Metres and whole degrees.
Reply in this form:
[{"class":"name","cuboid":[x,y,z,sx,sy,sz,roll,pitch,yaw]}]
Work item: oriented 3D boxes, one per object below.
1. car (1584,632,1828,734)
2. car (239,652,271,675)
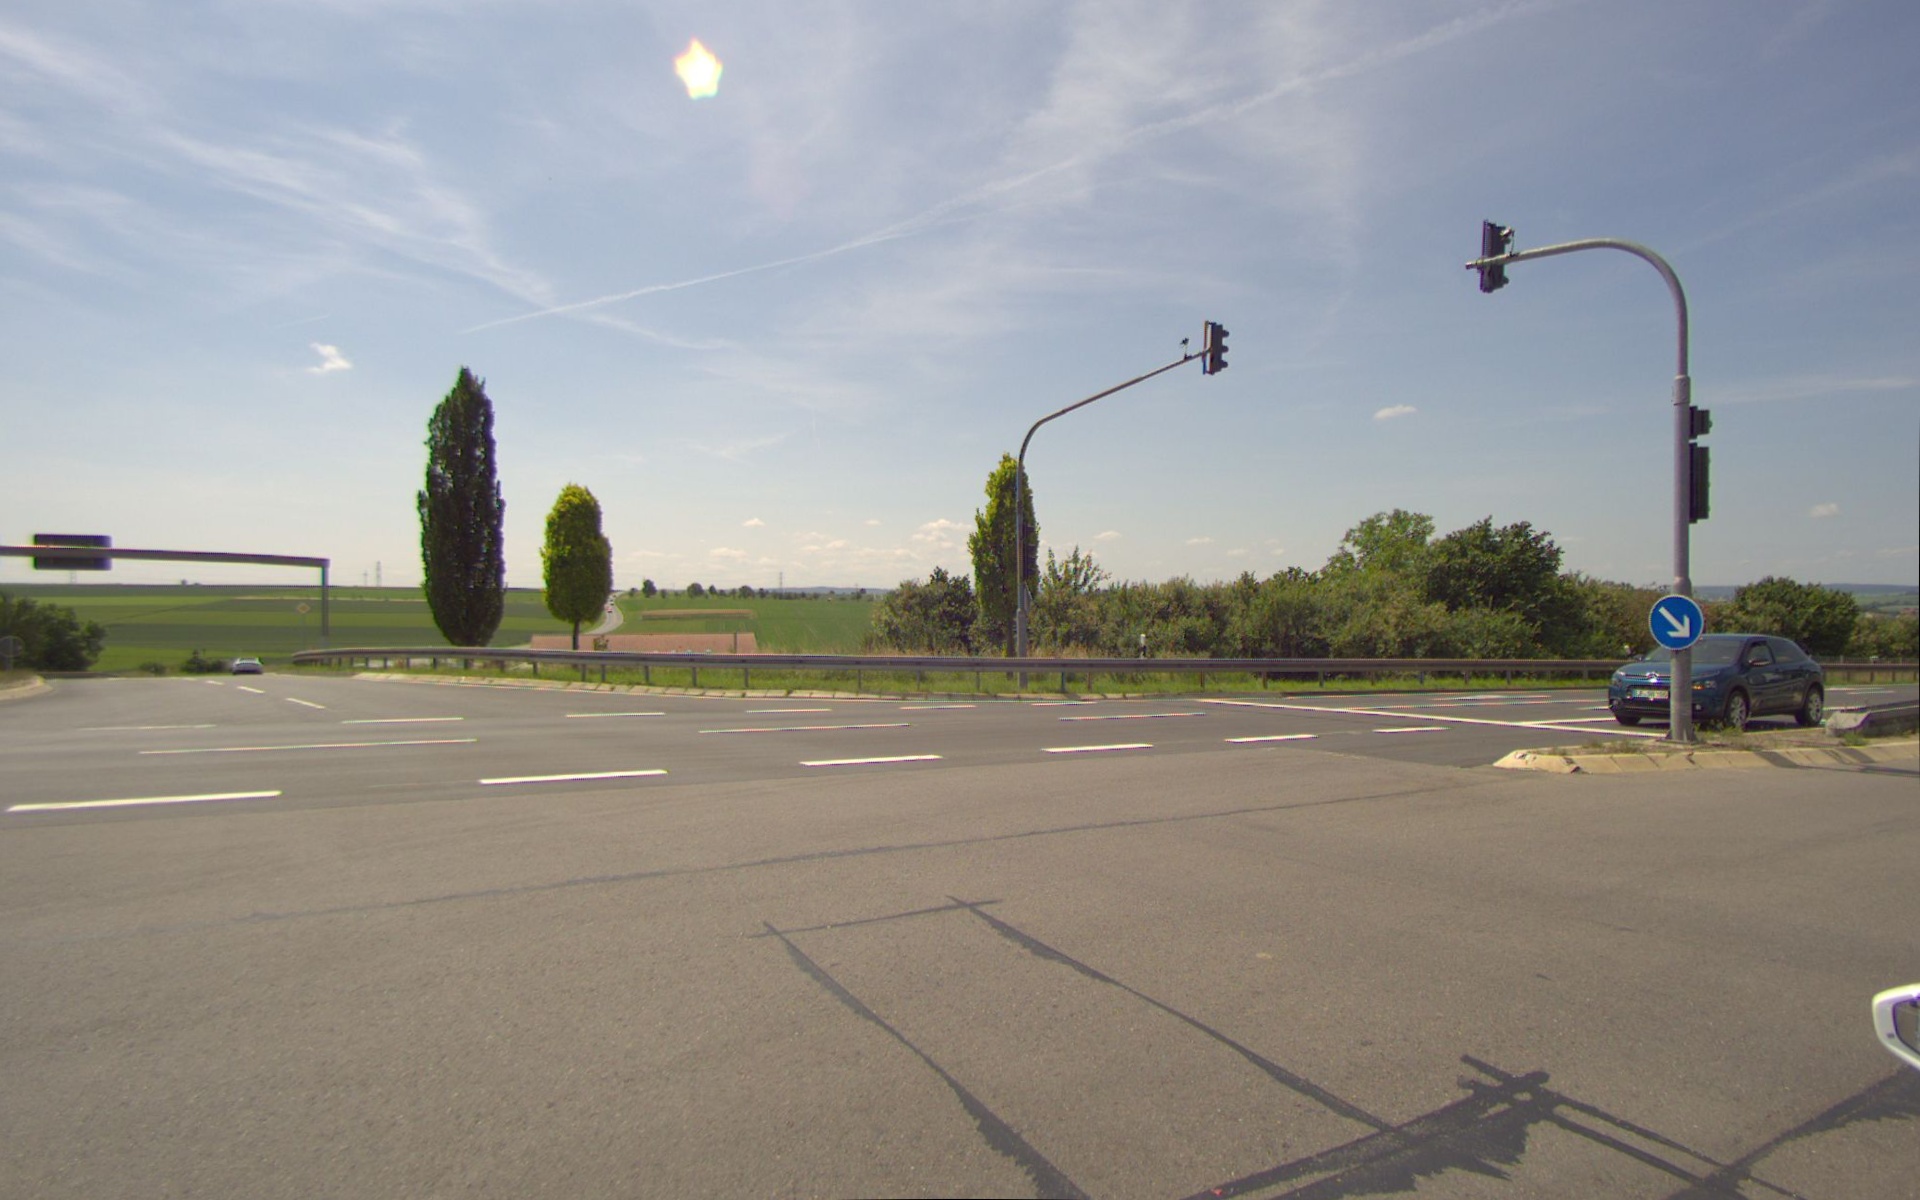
[{"class":"car","cuboid":[12.307,1.301,16.519,4.146,1.488,1.747,2,-2,-30]},{"class":"car","cuboid":[-55.007,4.919,78.417,1.615,1.479,4.456,3,0,-31]}]
